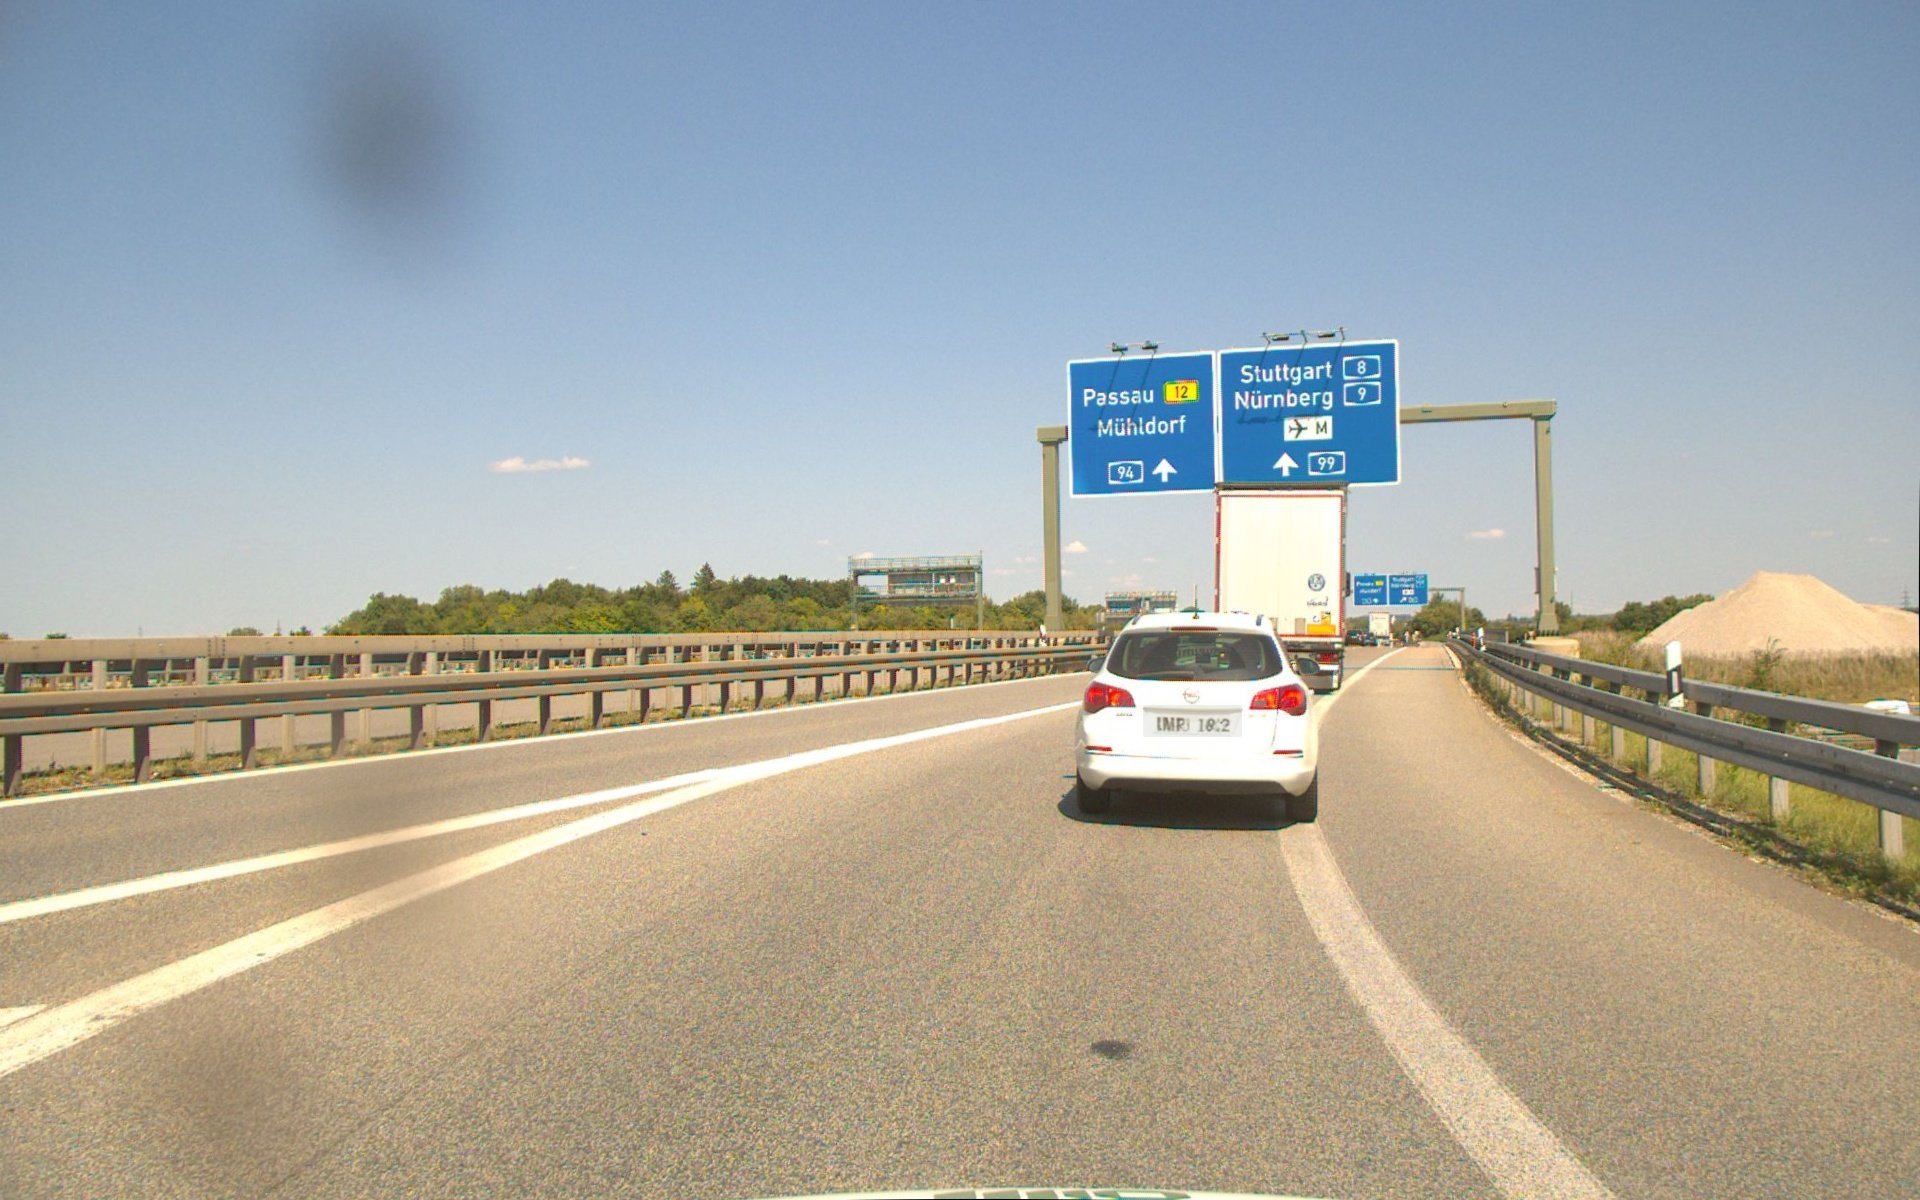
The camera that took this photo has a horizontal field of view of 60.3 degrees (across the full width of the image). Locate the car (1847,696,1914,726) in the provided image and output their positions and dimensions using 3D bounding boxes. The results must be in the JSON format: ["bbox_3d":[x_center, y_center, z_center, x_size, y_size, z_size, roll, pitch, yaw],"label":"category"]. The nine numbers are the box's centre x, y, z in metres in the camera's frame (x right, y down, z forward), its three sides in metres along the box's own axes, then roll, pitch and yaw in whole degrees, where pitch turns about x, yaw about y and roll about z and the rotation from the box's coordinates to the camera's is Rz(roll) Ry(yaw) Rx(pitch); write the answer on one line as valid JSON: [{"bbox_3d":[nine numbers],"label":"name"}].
[{"bbox_3d":[67.270,8.112,120.911,3.902,2.049,1.805,1,-1,9],"label":"car"}]

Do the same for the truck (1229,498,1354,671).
[{"bbox_3d":[8.955,-0.278,44.103,2.850,4.218,6.930,0,-2,15],"label":"truck"}]

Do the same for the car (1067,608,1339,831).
[{"bbox_3d":[1.990,0.834,13.347,1.814,1.468,4.375,0,-1,9],"label":"car"}]

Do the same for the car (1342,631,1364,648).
[{"bbox_3d":[34.256,3.439,144.109,1.619,1.404,4.002,2,-1,17],"label":"car"}]

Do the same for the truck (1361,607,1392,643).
[{"bbox_3d":[54.200,3.300,214.935,3.464,4.218,11.263,2,-1,16],"label":"truck"}]

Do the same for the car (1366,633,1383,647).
[{"bbox_3d":[47.960,4.638,191.408,1.619,1.404,4.002,2,-1,17],"label":"car"}]

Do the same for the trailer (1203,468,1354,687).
[{"bbox_3d":[7.402,-0.261,37.598,2.850,4.218,11.265,0,-2,13],"label":"trailer"}]
